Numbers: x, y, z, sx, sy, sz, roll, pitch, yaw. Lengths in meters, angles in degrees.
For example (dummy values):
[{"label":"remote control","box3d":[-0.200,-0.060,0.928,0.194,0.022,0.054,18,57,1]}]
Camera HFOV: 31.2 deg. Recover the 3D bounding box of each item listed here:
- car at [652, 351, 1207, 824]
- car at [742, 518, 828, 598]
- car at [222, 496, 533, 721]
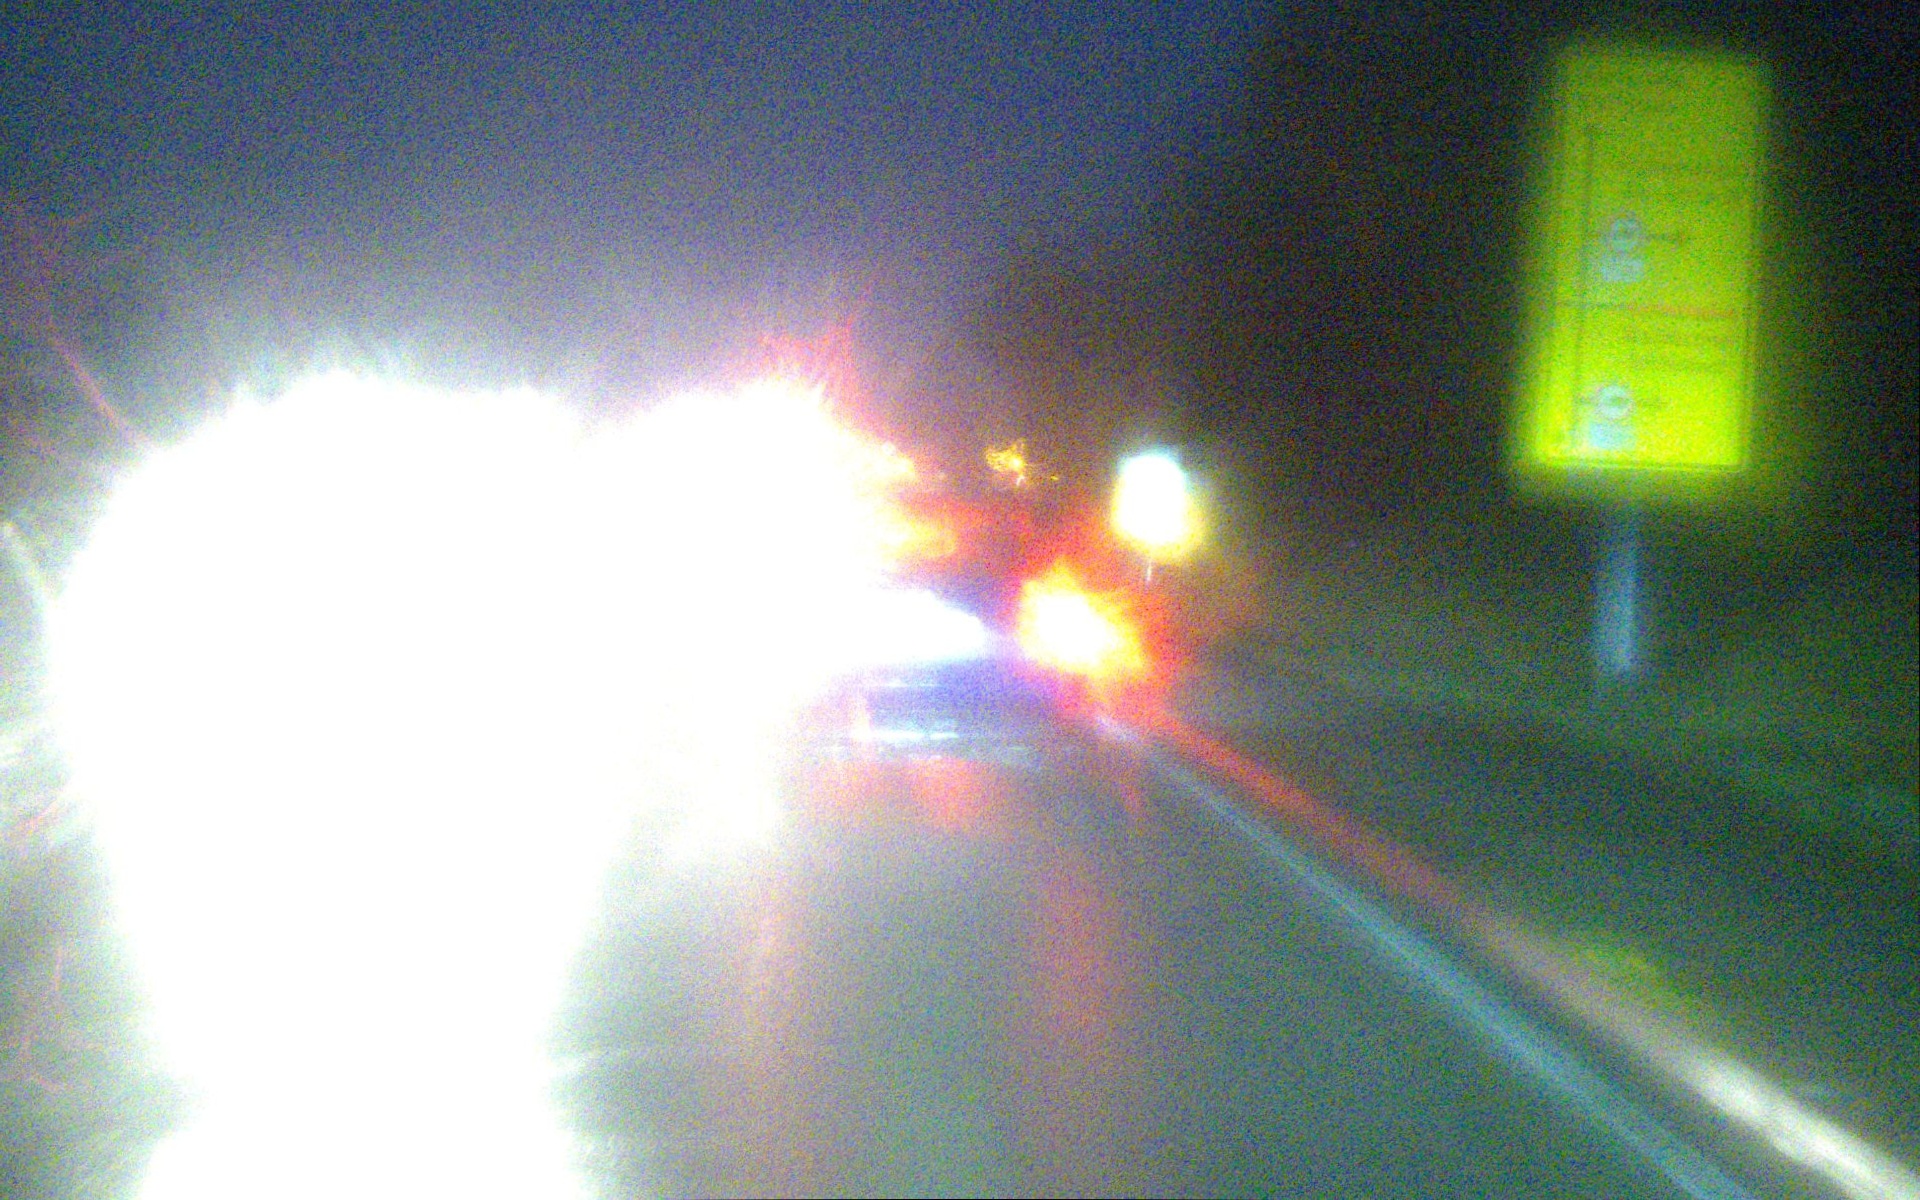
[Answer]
[{"label":"car","box3d":[-0.239,-0.138,20.123,2.715,2.299,6.101,1,1,-2]},{"label":"car","box3d":[-4.394,-1.078,86.860,1.993,1.908,4.000,2,1,-1]},{"label":"car","box3d":[-4.510,-0.001,27.190,1.862,1.539,4.230,1,2,-2]}]
